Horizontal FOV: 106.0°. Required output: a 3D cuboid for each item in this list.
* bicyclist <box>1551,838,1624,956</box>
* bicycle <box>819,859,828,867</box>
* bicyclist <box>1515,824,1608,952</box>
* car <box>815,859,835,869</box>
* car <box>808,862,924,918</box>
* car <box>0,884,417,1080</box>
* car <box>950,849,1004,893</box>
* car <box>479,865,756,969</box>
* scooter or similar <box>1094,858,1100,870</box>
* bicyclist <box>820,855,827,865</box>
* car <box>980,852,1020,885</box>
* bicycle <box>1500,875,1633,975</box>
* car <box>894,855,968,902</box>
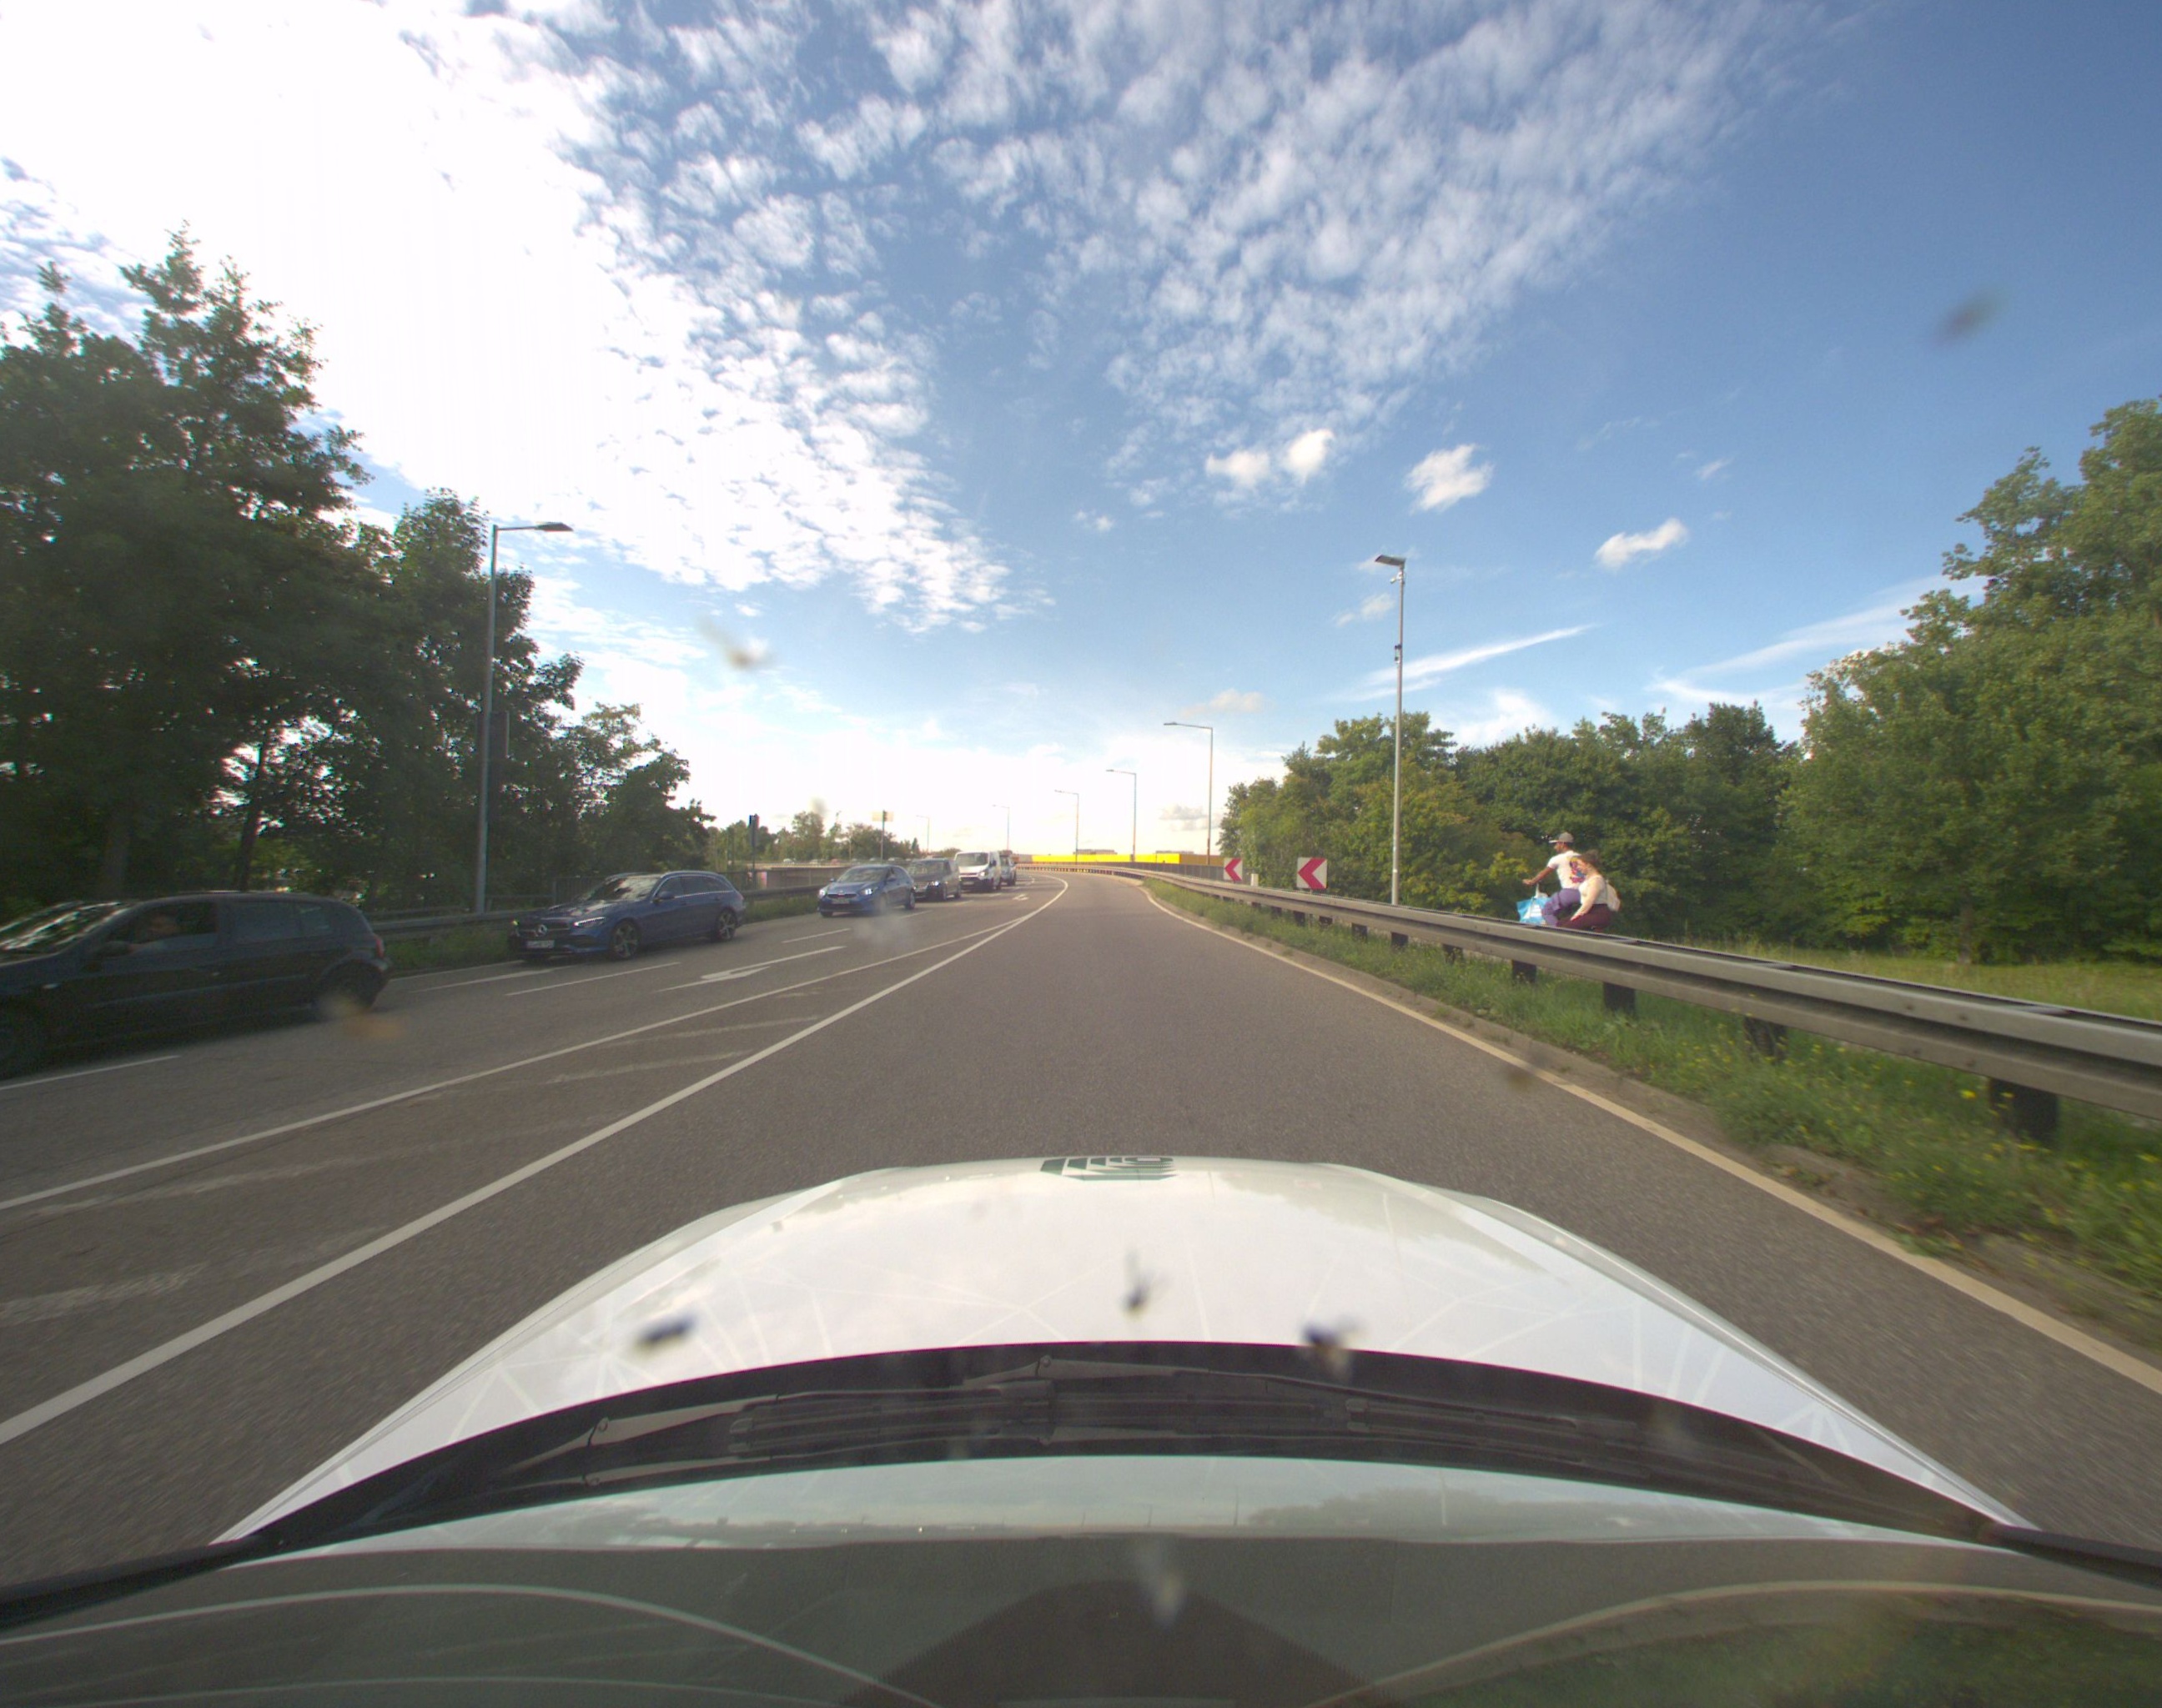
[{"bbox_3d":[6.092,0.506,9.813,0.498,1.372,0.538,-1,-1,-3],"label":"bicyclist"},{"bbox_3d":[-43.590,1.531,137.703,0.771,1.331,1.893,0,-1,-42],"label":"bicycle"},{"bbox_3d":[6.096,0.420,10.368,0.705,1.557,0.753,-1,-1,-3],"label":"bicyclist"},{"bbox_3d":[-46.065,1.803,146.461,1.790,1.746,3.790,-1,0,-44],"label":"car"},{"bbox_3d":[-6.297,0.998,24.430,1.883,1.447,4.368,-1,0,6],"label":"car"},{"bbox_3d":[-8.787,1.049,7.620,1.614,1.365,3.786,-1,0,12],"label":"car"},{"bbox_3d":[-4.891,0.754,38.909,1.979,1.964,5.045,-1,0,-1],"label":"car"},{"bbox_3d":[-8.143,1.011,14.980,1.803,1.520,4.776,-1,0,9],"label":"car"},{"bbox_3d":[1.611,0.982,80.261,0.265,1.162,1.183,-1,-1,-13],"label":"scooter or similar"},{"bbox_3d":[-43.600,1.088,137.724,0.773,1.660,1.106,0,-1,-43],"label":"bicyclist"},{"bbox_3d":[-4.526,0.790,45.712,1.767,1.746,3.837,-1,0,1],"label":"car"},{"bbox_3d":[6.113,0.847,10.365,0.594,1.120,1.695,-1,-1,-3],"label":"bicycle"},{"bbox_3d":[-5.675,0.870,31.366,1.739,1.654,4.457,-1,0,3],"label":"car"}]
